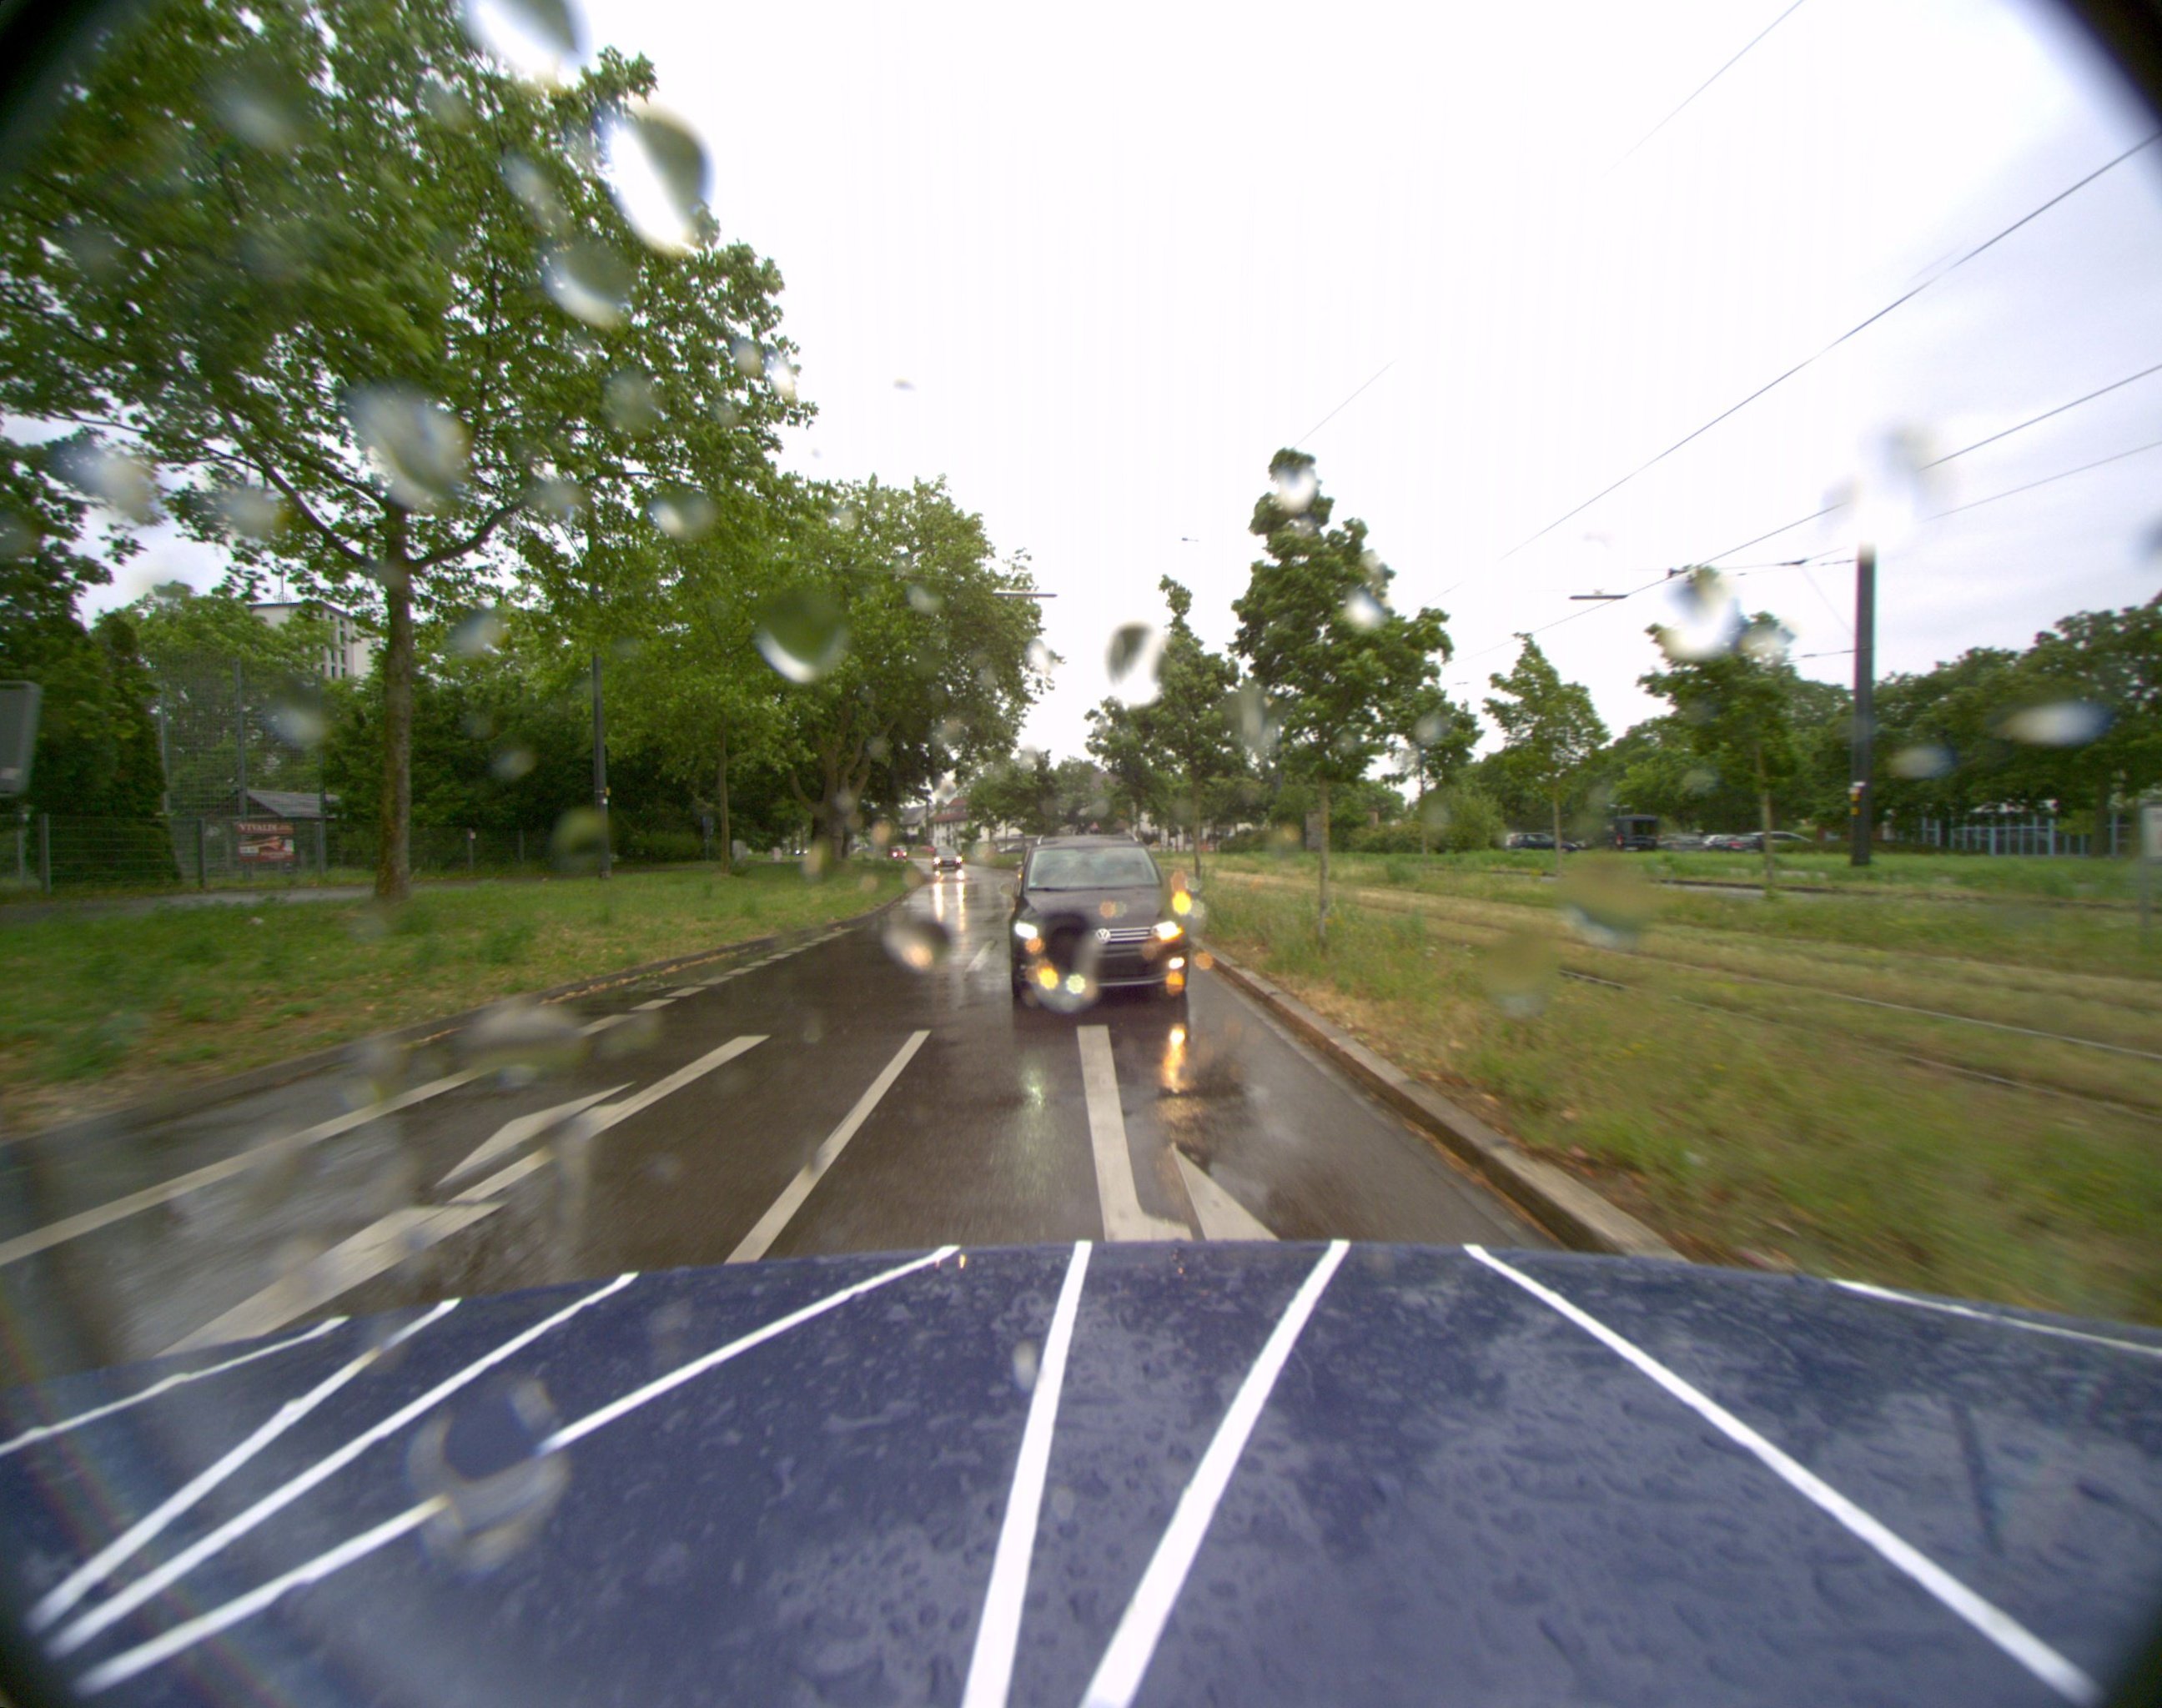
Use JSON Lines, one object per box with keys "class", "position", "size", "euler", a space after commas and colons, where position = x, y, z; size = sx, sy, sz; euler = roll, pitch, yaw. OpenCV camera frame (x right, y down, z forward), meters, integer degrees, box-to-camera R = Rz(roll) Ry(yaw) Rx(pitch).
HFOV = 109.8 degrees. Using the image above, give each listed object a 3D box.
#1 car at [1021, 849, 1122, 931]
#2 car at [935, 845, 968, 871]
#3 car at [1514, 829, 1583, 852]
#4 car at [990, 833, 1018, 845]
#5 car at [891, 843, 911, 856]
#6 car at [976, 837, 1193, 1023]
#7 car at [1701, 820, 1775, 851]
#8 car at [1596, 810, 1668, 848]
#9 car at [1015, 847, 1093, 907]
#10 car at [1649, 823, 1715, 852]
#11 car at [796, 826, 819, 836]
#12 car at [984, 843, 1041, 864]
{"class": "car", "position": [-0.253, 0.641, 15.787], "size": [1.788, 1.355, 3.996], "euler": [-2, 1, -3]}
{"class": "car", "position": [-8.756, 0.249, 51.102], "size": [1.874, 1.609, 3.804], "euler": [-3, 1, -14]}
{"class": "car", "position": [34.308, -0.981, 55.916], "size": [4.172, 1.474, 1.786], "euler": [-2, 2, 27]}
{"class": "car", "position": [-12.674, -2.491, 124.974], "size": [4.006, 1.791, 1.888], "euler": [-3, 1, -35]}
{"class": "car", "position": [-20.674, -0.498, 87.072], "size": [1.791, 1.373, 3.857], "euler": [-3, 1, -20]}
{"class": "car", "position": [0.038, 0.636, 9.046], "size": [1.866, 1.592, 4.524], "euler": [-2, 1, 0]}
{"class": "car", "position": [36.479, -1.083, 42.307], "size": [2.057, 1.564, 5.024], "euler": [-2, 2, 28]}
{"class": "car", "position": [31.593, -1.438, 43.724], "size": [2.307, 2.002, 5.124], "euler": [-2, 1, 24]}
{"class": "car", "position": [-0.833, 0.557, 20.917], "size": [1.789, 1.396, 3.791], "euler": [-3, 1, -7]}
{"class": "car", "position": [34.242, -0.990, 43.438], "size": [1.752, 1.522, 4.855], "euler": [-2, 1, 24]}
{"class": "car", "position": [-52.657, -4.414, 146.362], "size": [4.004, 1.816, 1.996], "euler": [-3, 2, -25]}
{"class": "car", "position": [-5.178, -0.043, 57.321], "size": [4.046, 1.412, 1.673], "euler": [-3, 2, -11]}
